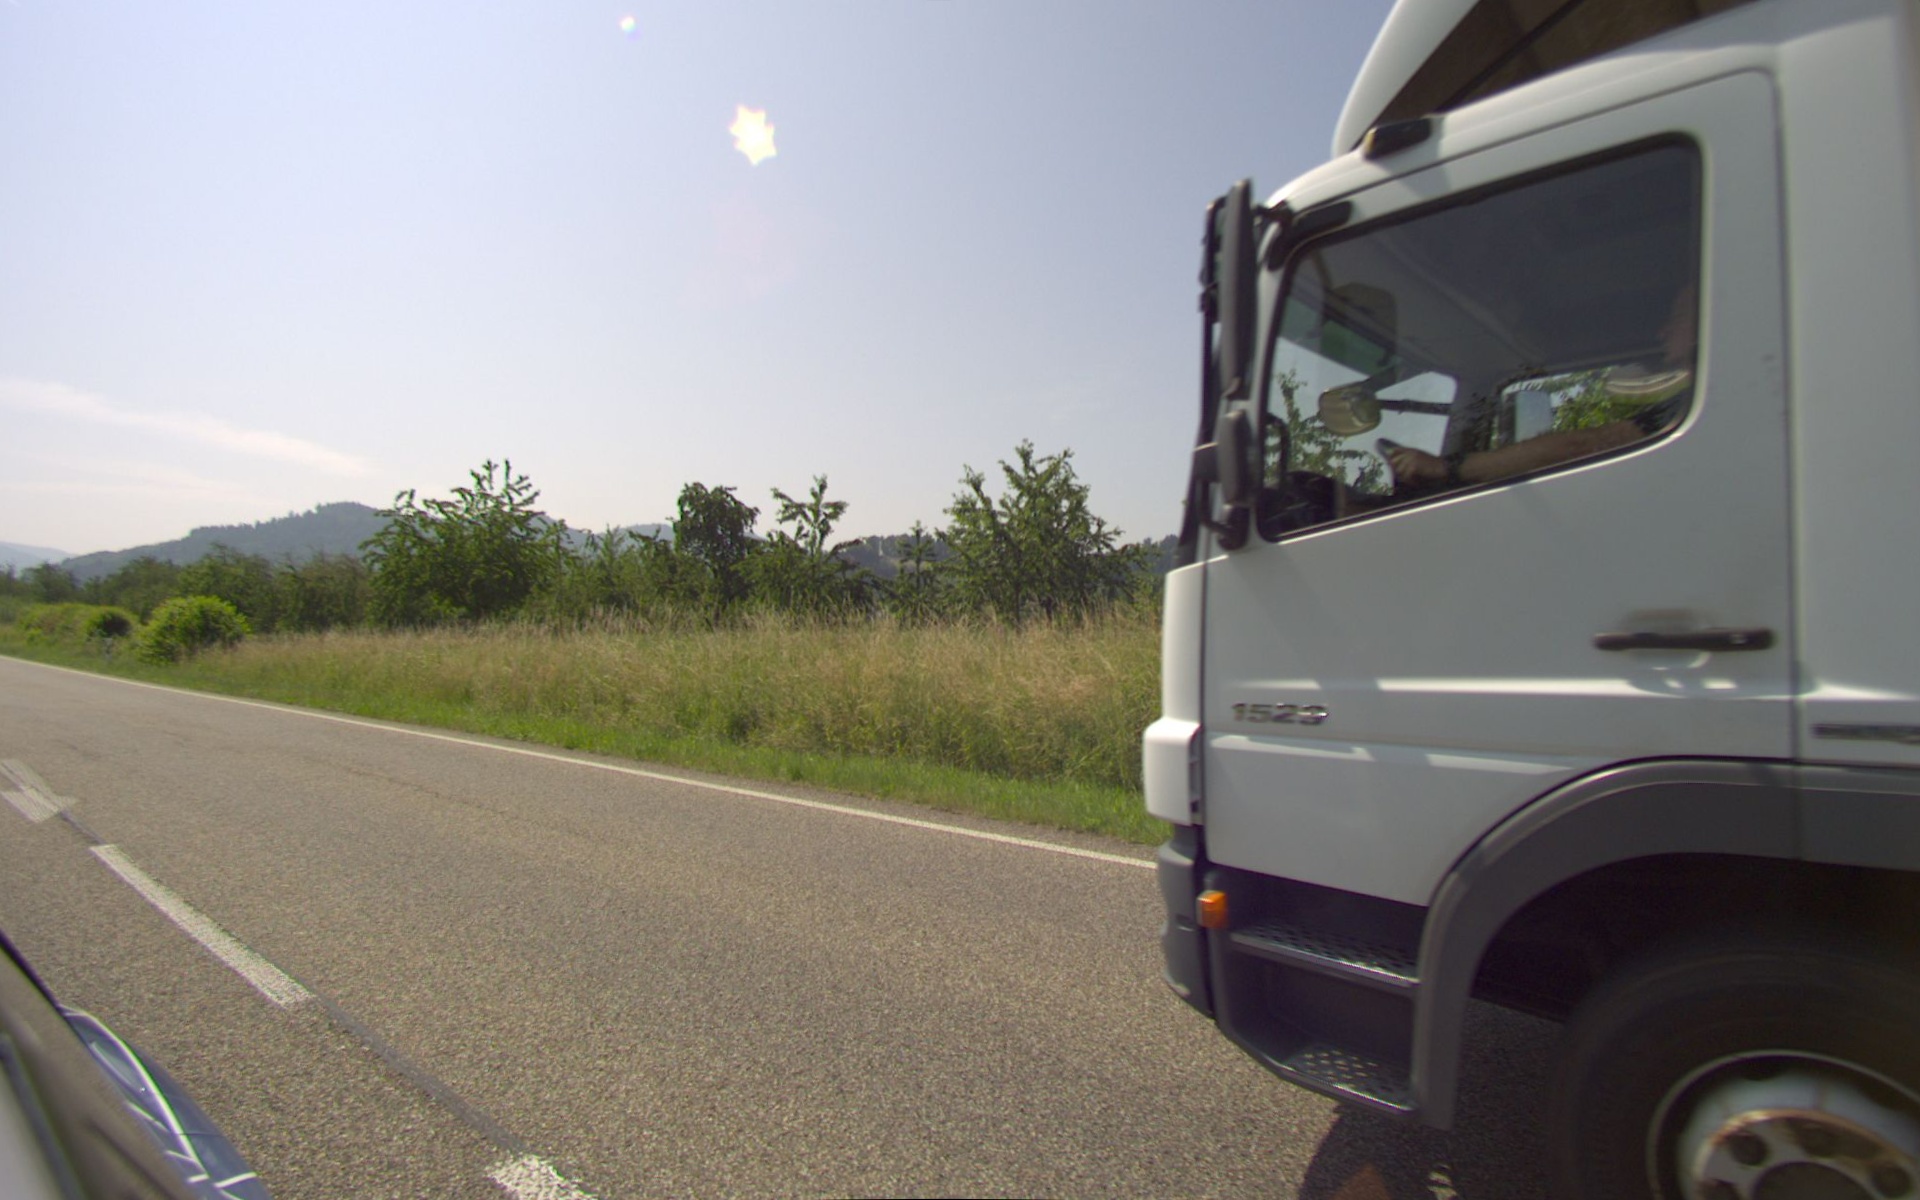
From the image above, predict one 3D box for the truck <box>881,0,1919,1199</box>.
[{"bbox_3d":[4.471,-0.585,0.490,10.203,3.868,2.637,-1,-2,41],"label":"truck"}]
